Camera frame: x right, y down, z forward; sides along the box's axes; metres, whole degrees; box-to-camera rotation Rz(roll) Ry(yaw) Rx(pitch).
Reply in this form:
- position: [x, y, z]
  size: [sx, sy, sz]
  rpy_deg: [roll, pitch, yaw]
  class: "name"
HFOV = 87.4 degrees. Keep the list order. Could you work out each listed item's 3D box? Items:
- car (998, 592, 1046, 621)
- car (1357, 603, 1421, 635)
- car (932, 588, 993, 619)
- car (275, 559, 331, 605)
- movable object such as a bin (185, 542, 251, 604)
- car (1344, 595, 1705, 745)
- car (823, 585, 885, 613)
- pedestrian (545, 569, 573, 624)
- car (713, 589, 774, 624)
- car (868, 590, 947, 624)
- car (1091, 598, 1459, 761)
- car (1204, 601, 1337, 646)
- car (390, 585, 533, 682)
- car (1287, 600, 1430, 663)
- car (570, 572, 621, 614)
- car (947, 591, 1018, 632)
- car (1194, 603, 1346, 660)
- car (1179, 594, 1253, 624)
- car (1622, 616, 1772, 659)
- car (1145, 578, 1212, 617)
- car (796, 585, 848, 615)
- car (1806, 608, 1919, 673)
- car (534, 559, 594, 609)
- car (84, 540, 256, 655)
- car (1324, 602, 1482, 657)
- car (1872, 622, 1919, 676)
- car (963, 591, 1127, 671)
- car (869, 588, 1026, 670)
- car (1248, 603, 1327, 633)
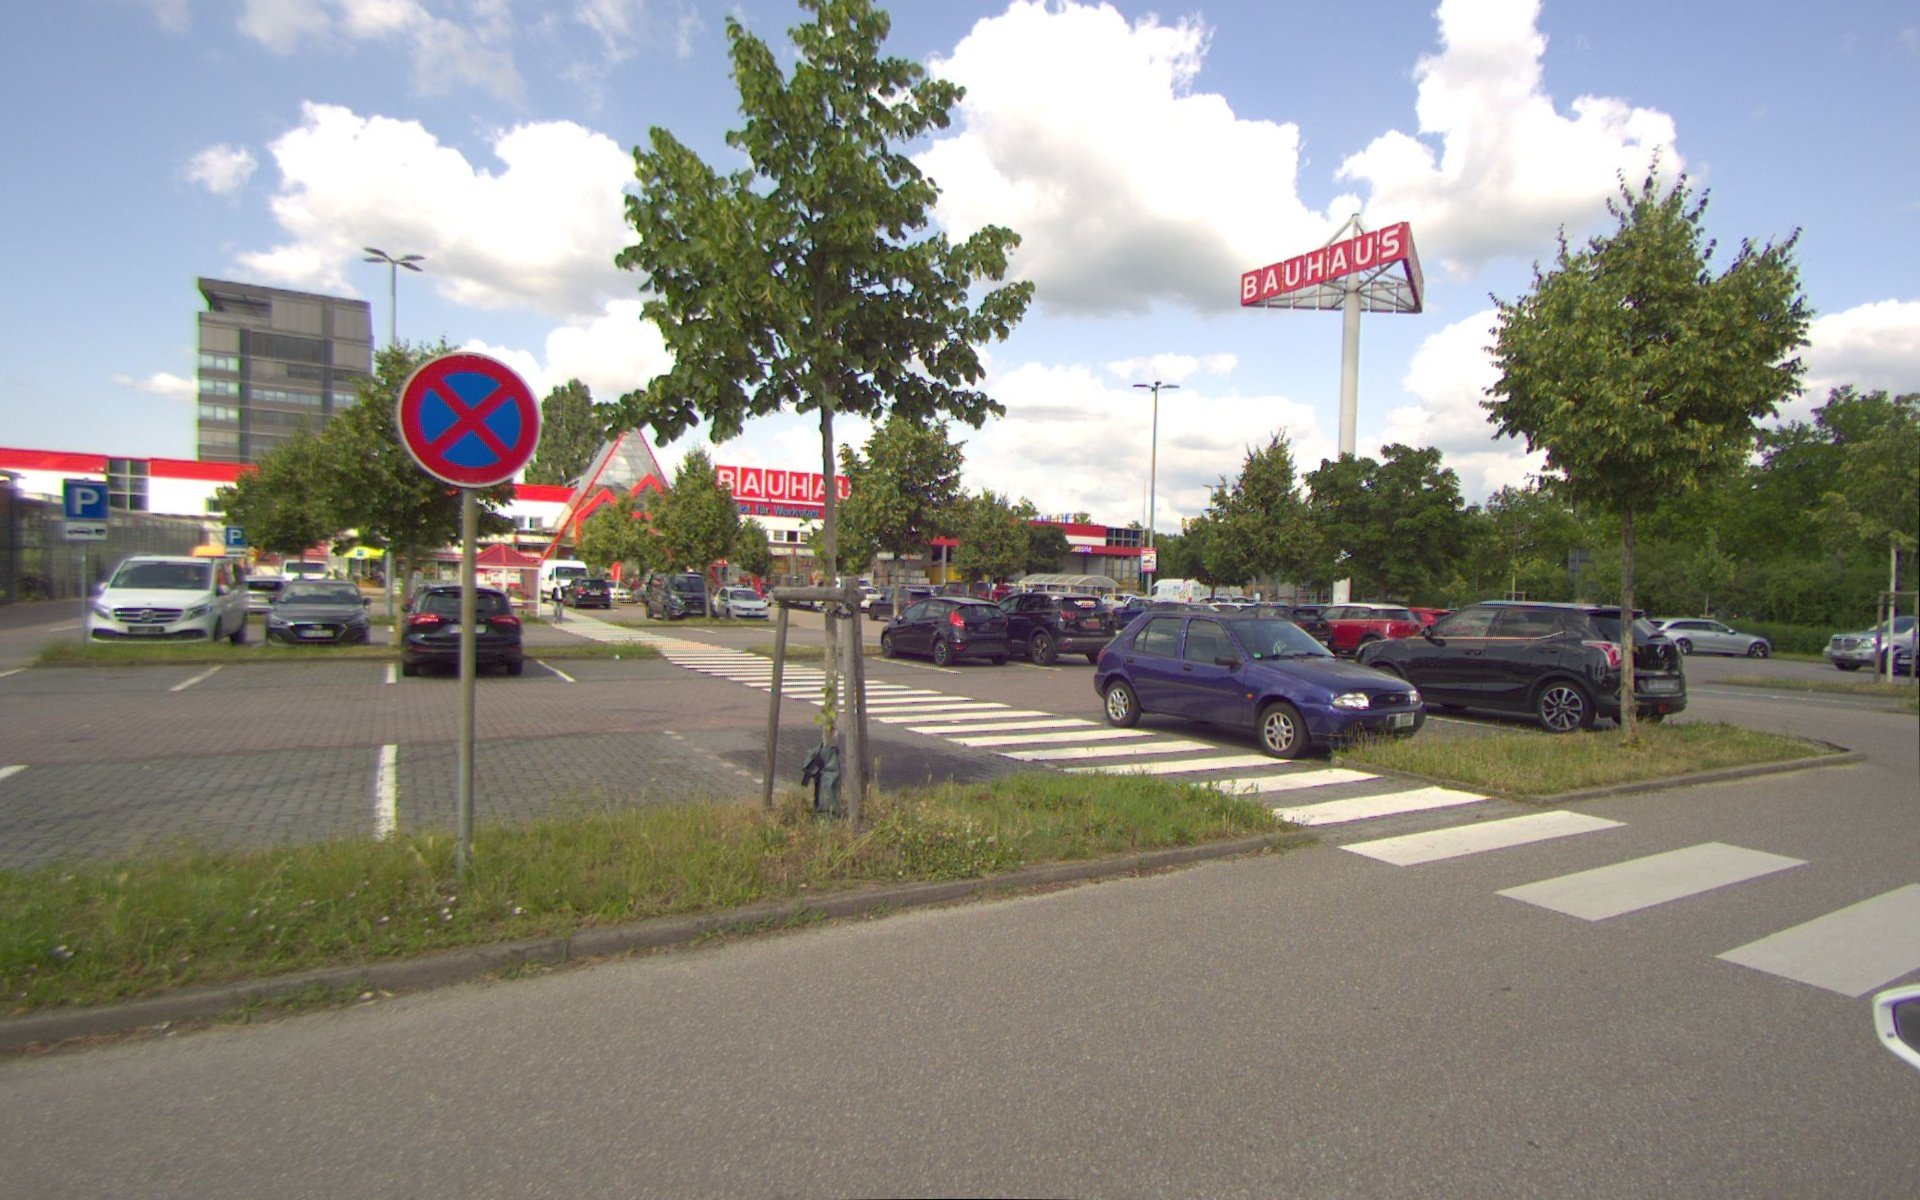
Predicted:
- position: [4.023, 0.396, 65.470]
  size: [1.584, 1.767, 3.140]
  rpy_deg: [0, 1, -31]
  class: "car"
- position: [30.026, 1.322, 70.300]
  size: [4.004, 2.045, 1.934]
  rpy_deg: [3, -1, -26]
  class: "car"
- position: [0.110, 0.191, 62.629]
  size: [1.978, 1.802, 3.964]
  rpy_deg: [1, 1, -32]
  class: "car"
- position: [-32.867, -0.874, 50.373]
  size: [1.977, 2.040, 4.768]
  rpy_deg: [5, -2, -30]
  class: "car"
- position: [-32.222, -1.150, 43.731]
  size: [2.109, 2.527, 5.285]
  rpy_deg: [1, 1, -35]
  class: "movable object such as a bin"
- position: [7.390, 0.807, 13.576]
  size: [1.714, 1.646, 3.934]
  rpy_deg: [1, 1, -28]
  class: "car"
- position: [-6.247, -0.097, 58.861]
  size: [1.979, 1.529, 3.962]
  rpy_deg: [1, 1, -34]
  class: "car"
- position: [-15.251, -0.145, 38.219]
  size: [0.808, 2.040, 0.907]
  rpy_deg: [1, 1, -32]
  class: "pedestrian"
- position: [-9.477, 0.255, 43.810]
  size: [1.721, 1.405, 3.536]
  rpy_deg: [1, 1, -27]
  class: "car"
- position: [-2.576, 0.327, 48.408]
  size: [1.977, 1.487, 4.379]
  rpy_deg: [1, 1, -30]
  class: "car"
- position: [3.214, 0.715, 10.953]
  size: [1.602, 1.386, 3.733]
  rpy_deg: [1, 1, -30]
  class: "car"
- position: [10.740, 0.779, 35.037]
  size: [1.874, 1.371, 4.243]
  rpy_deg: [1, 1, -32]
  class: "car"
- position: [-8.453, 0.500, 16.903]
  size: [1.792, 1.423, 3.325]
  rpy_deg: [1, 1, -33]
  class: "car"
- position: [11.201, 0.846, 28.415]
  size: [1.691, 1.602, 3.417]
  rpy_deg: [1, 1, -32]
  class: "car"
- position: [-18.740, -0.367, 51.573]
  size: [1.975, 2.040, 3.971]
  rpy_deg: [1, 1, -27]
  class: "car"
- position: [0.915, 0.470, 42.493]
  size: [1.678, 1.624, 3.199]
  rpy_deg: [1, 1, -27]
  class: "car"
- position: [8.577, 0.837, 28.055]
  size: [1.711, 1.387, 3.847]
  rpy_deg: [1, 1, -34]
  class: "car"
- position: [14.751, 0.510, 58.119]
  size: [1.889, 1.617, 3.965]
  rpy_deg: [1, 1, -31]
  class: "car"
- position: [29.523, 1.482, 40.350]
  size: [4.561, 1.524, 1.785]
  rpy_deg: [2, 1, 4]
  class: "car"
- position: [15.642, -0.234, 72.061]
  size: [2.029, 2.543, 4.691]
  rpy_deg: [2, 1, -29]
  class: "car"
- position: [-7.866, -0.011, 56.960]
  size: [1.709, 1.528, 3.209]
  rpy_deg: [5, -2, -32]
  class: "car"
- position: [29.609, 1.275, 31.043]
  size: [5.044, 1.867, 1.991]
  rpy_deg: [2, 1, 3]
  class: "car"
- position: [-22.726, -0.897, 57.515]
  size: [2.217, 2.671, 4.287]
  rpy_deg: [2, 0, -35]
  class: "car"
- position: [-15.945, -0.078, 20.577]
  size: [1.976, 2.040, 5.146]
  rpy_deg: [1, 1, -30]
  class: "car"
- position: [13.184, 0.838, 30.112]
  size: [1.747, 1.417, 4.052]
  rpy_deg: [1, 1, -32]
  class: "car"
- position: [29.216, 1.451, 28.582]
  size: [4.629, 1.470, 1.840]
  rpy_deg: [2, 1, 6]
  class: "car"
- position: [1.897, 0.665, 23.558]
  size: [1.764, 1.646, 4.049]
  rpy_deg: [1, 1, -31]
  class: "car"
- position: [-0.359, 0.602, 22.739]
  size: [1.766, 1.646, 3.670]
  rpy_deg: [1, 1, -35]
  class: "car"
- position: [17.491, 0.938, 53.754]
  size: [1.707, 1.466, 3.738]
  rpy_deg: [1, 1, -34]
  class: "car"
